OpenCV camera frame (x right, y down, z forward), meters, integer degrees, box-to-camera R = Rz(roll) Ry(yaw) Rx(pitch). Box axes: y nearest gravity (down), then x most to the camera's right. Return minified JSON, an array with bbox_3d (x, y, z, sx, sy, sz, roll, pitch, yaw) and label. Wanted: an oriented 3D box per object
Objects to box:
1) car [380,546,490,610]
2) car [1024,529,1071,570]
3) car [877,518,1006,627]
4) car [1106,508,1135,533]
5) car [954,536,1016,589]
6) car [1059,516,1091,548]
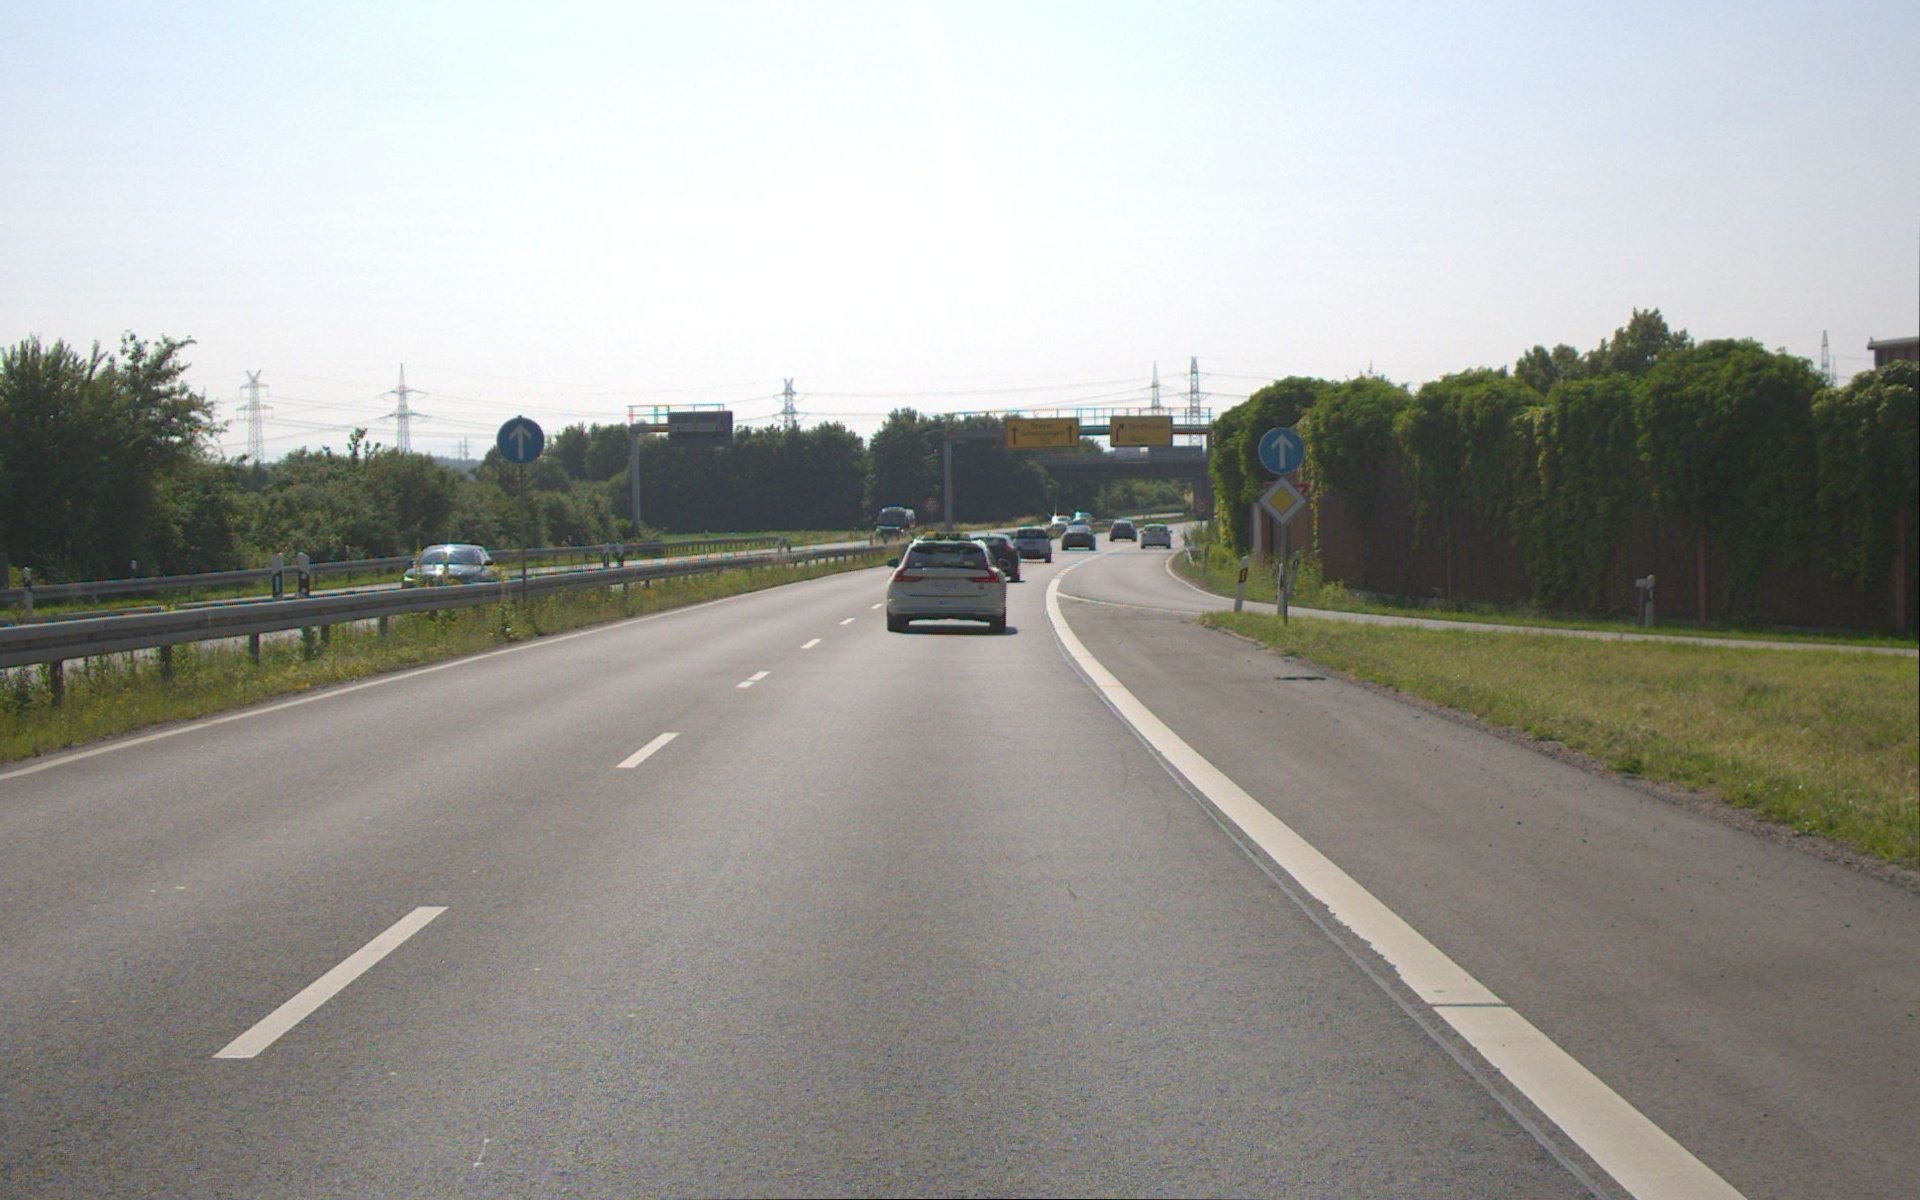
[{"bbox_3d":[-12.163,-0.528,79.853,1.800,1.415,4.676,1,1,0],"label":"car"},{"bbox_3d":[3.793,-2.209,148.862,1.769,1.730,3.631,0,1,5],"label":"car"},{"bbox_3d":[-0.289,-0.475,54.945,1.958,1.596,4.107,1,2,0],"label":"car"},{"bbox_3d":[11.466,-5.672,245.653,1.841,1.692,3.999,0,1,5],"label":"car"},{"bbox_3d":[0.767,-1.123,102.216,1.793,1.538,3.672,0,1,1],"label":"car"},{"bbox_3d":[6.679,-3.933,199.456,1.841,1.796,4.000,0,1,3],"label":"car"}]
